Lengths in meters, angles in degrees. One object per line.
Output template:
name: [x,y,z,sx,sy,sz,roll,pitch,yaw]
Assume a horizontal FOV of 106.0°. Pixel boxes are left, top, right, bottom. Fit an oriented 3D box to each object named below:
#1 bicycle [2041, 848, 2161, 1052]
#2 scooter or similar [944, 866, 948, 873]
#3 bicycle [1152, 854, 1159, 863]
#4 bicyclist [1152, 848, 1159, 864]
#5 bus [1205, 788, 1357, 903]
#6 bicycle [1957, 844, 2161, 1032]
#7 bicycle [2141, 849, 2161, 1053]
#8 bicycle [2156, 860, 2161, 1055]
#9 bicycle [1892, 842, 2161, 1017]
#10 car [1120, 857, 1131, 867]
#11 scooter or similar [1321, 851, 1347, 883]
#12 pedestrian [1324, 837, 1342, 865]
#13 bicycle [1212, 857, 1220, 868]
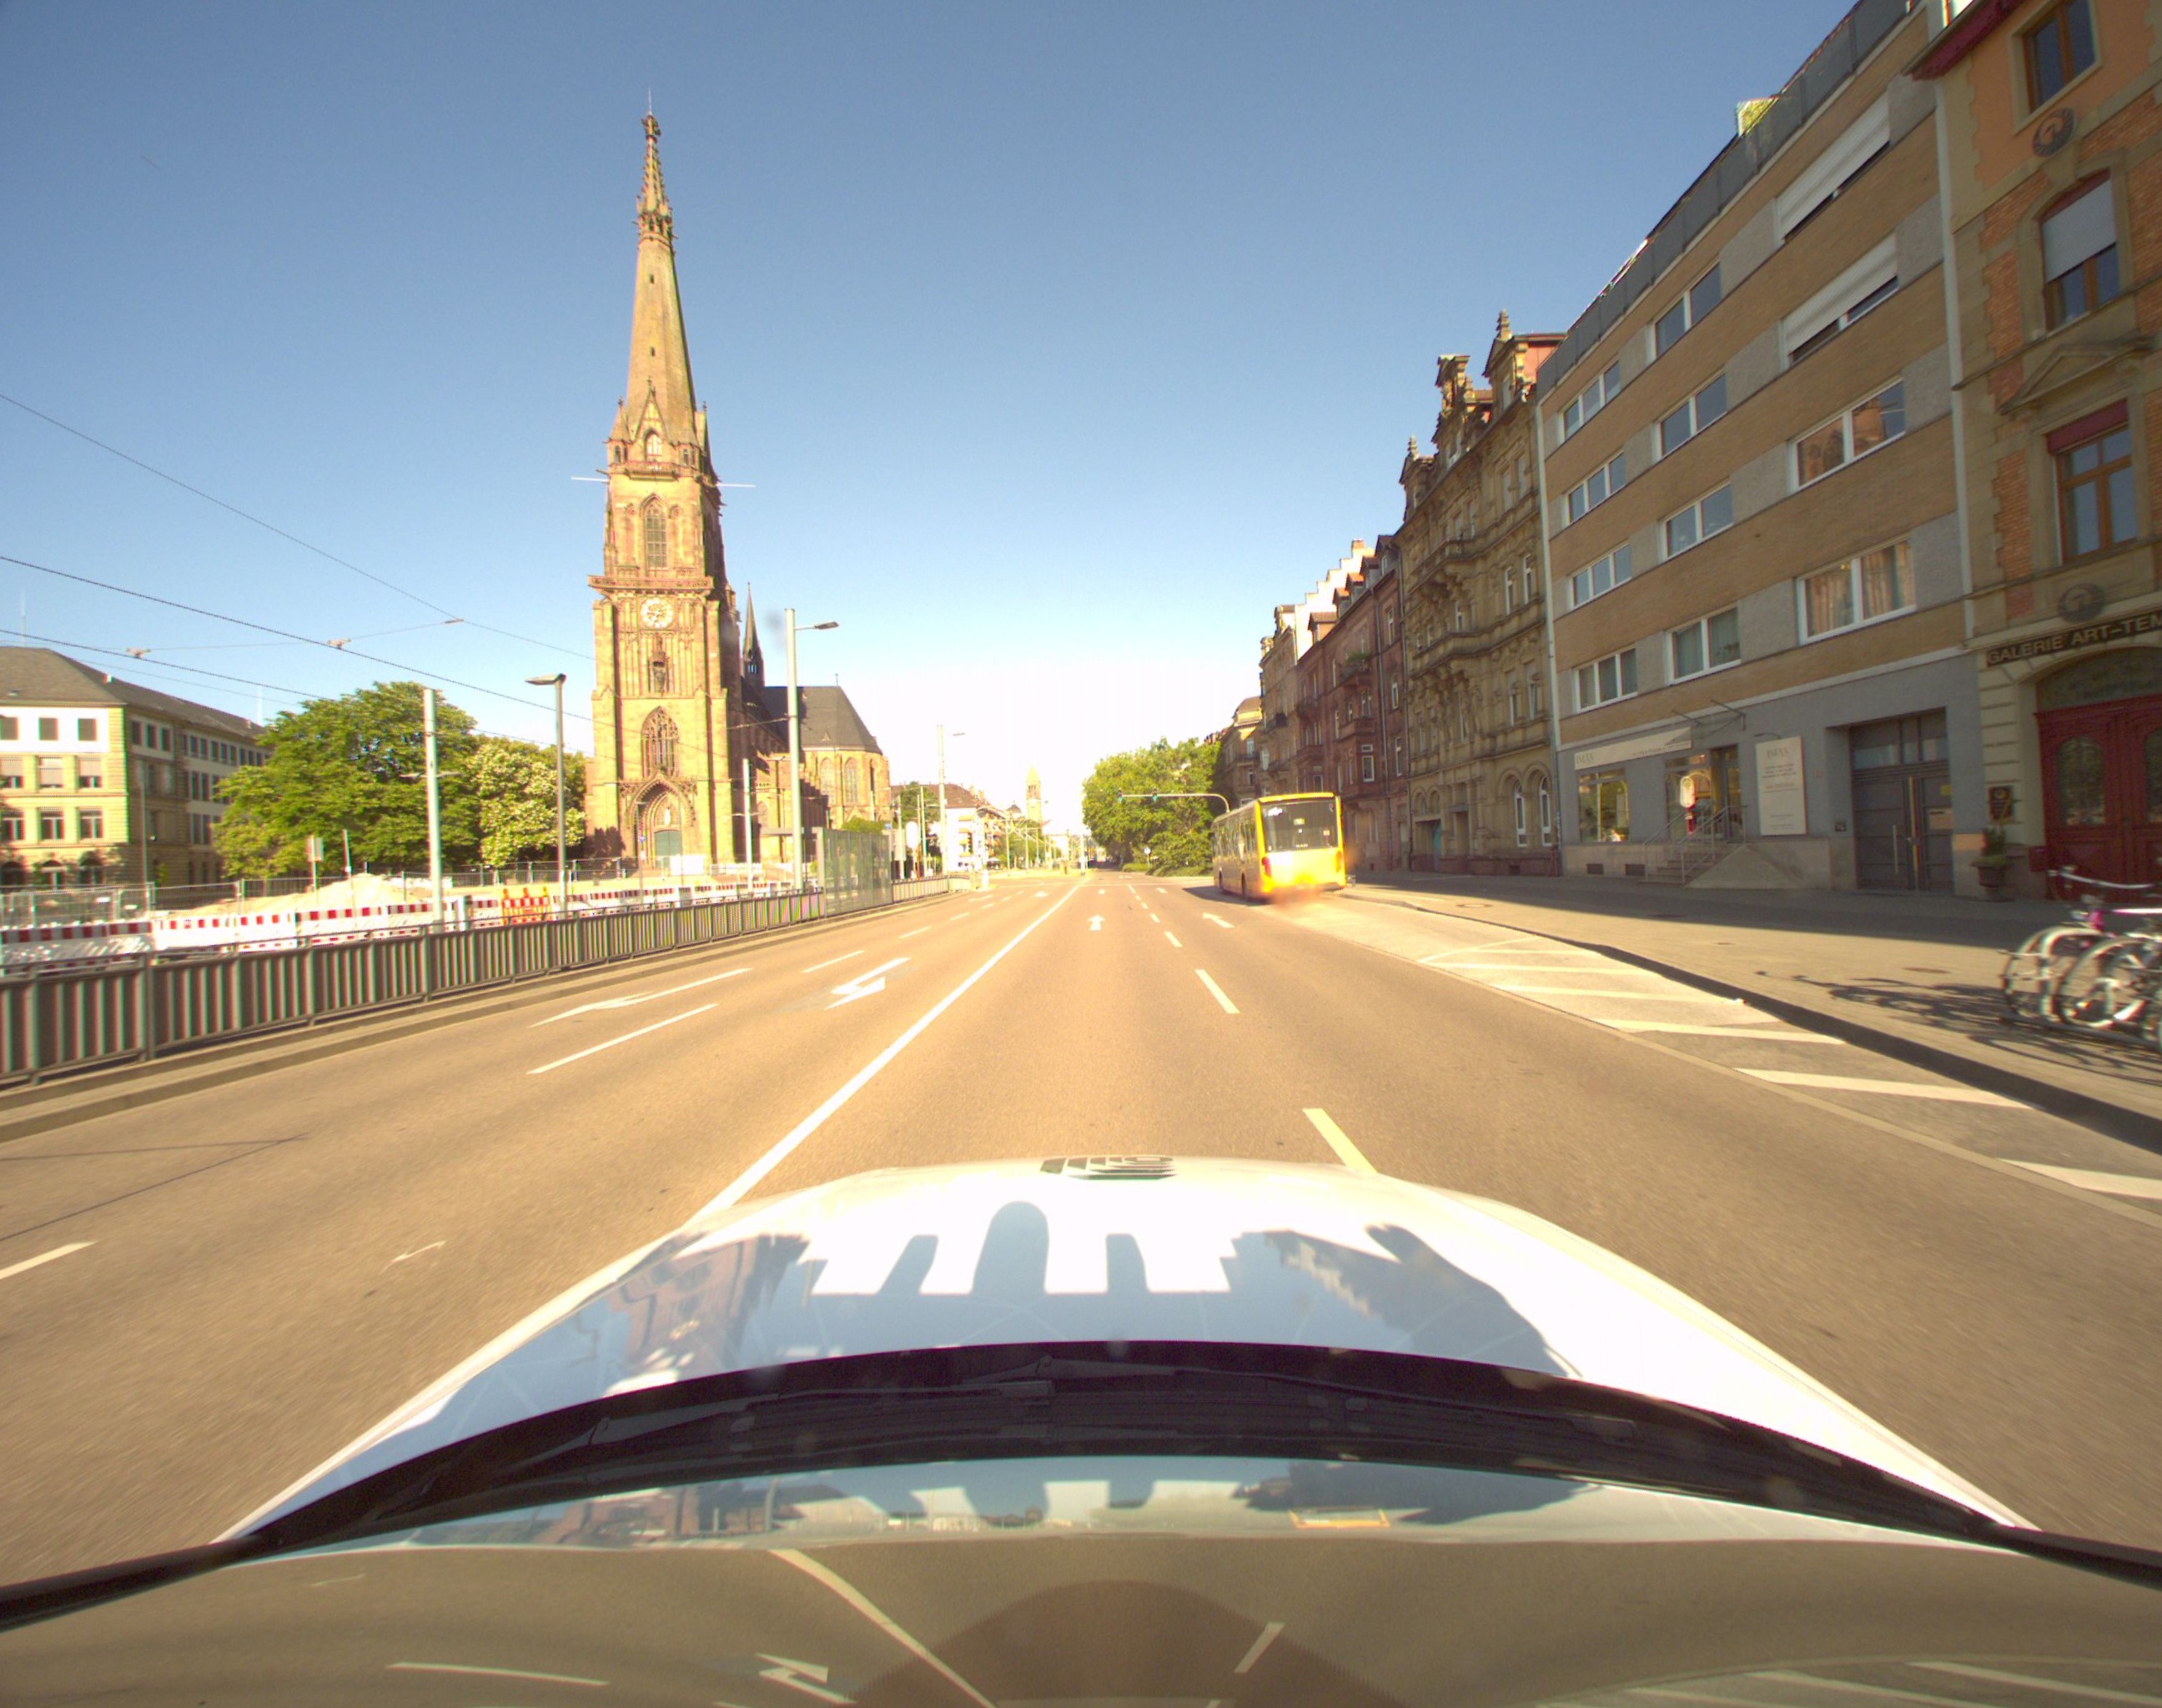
bicycle: [7.169,0.549,5.069,1.785,1.187,0.470,-2,0,1]
scooter or similar: [-25.677,3.012,154.923,0.400,1.261,1.231,-4,2,2]
bicycle: [9.275,0.616,100.886,0.639,1.048,2.360,-4,-1,1]
bicyclist: [9.256,0.252,101.074,0.639,1.815,1.052,-4,-2,1]
bus: [6.789,-0.229,30.055,2.705,3.181,12.546,-4,0,2]
bicycle: [7.148,0.543,5.572,1.758,1.187,0.470,-2,0,1]
bicycle: [7.171,0.536,4.578,1.758,1.187,0.470,-2,0,1]
bicycle: [6.035,0.610,3.516,0.467,1.147,1.771,-2,1,2]
bicycle: [7.181,0.541,6.067,1.758,1.187,0.470,-2,0,1]
car: [7.391,1.329,136.122,1.637,1.511,4.185,-4,0,2]
scooter or similar: [10.357,0.534,33.416,0.431,1.249,1.291,-4,-1,-8]
pedestrian: [17.408,-0.204,56.277,0.819,1.930,1.137,-3,-1,1]
bicycle: [14.493,0.876,87.483,0.516,1.047,1.821,-4,2,1]
